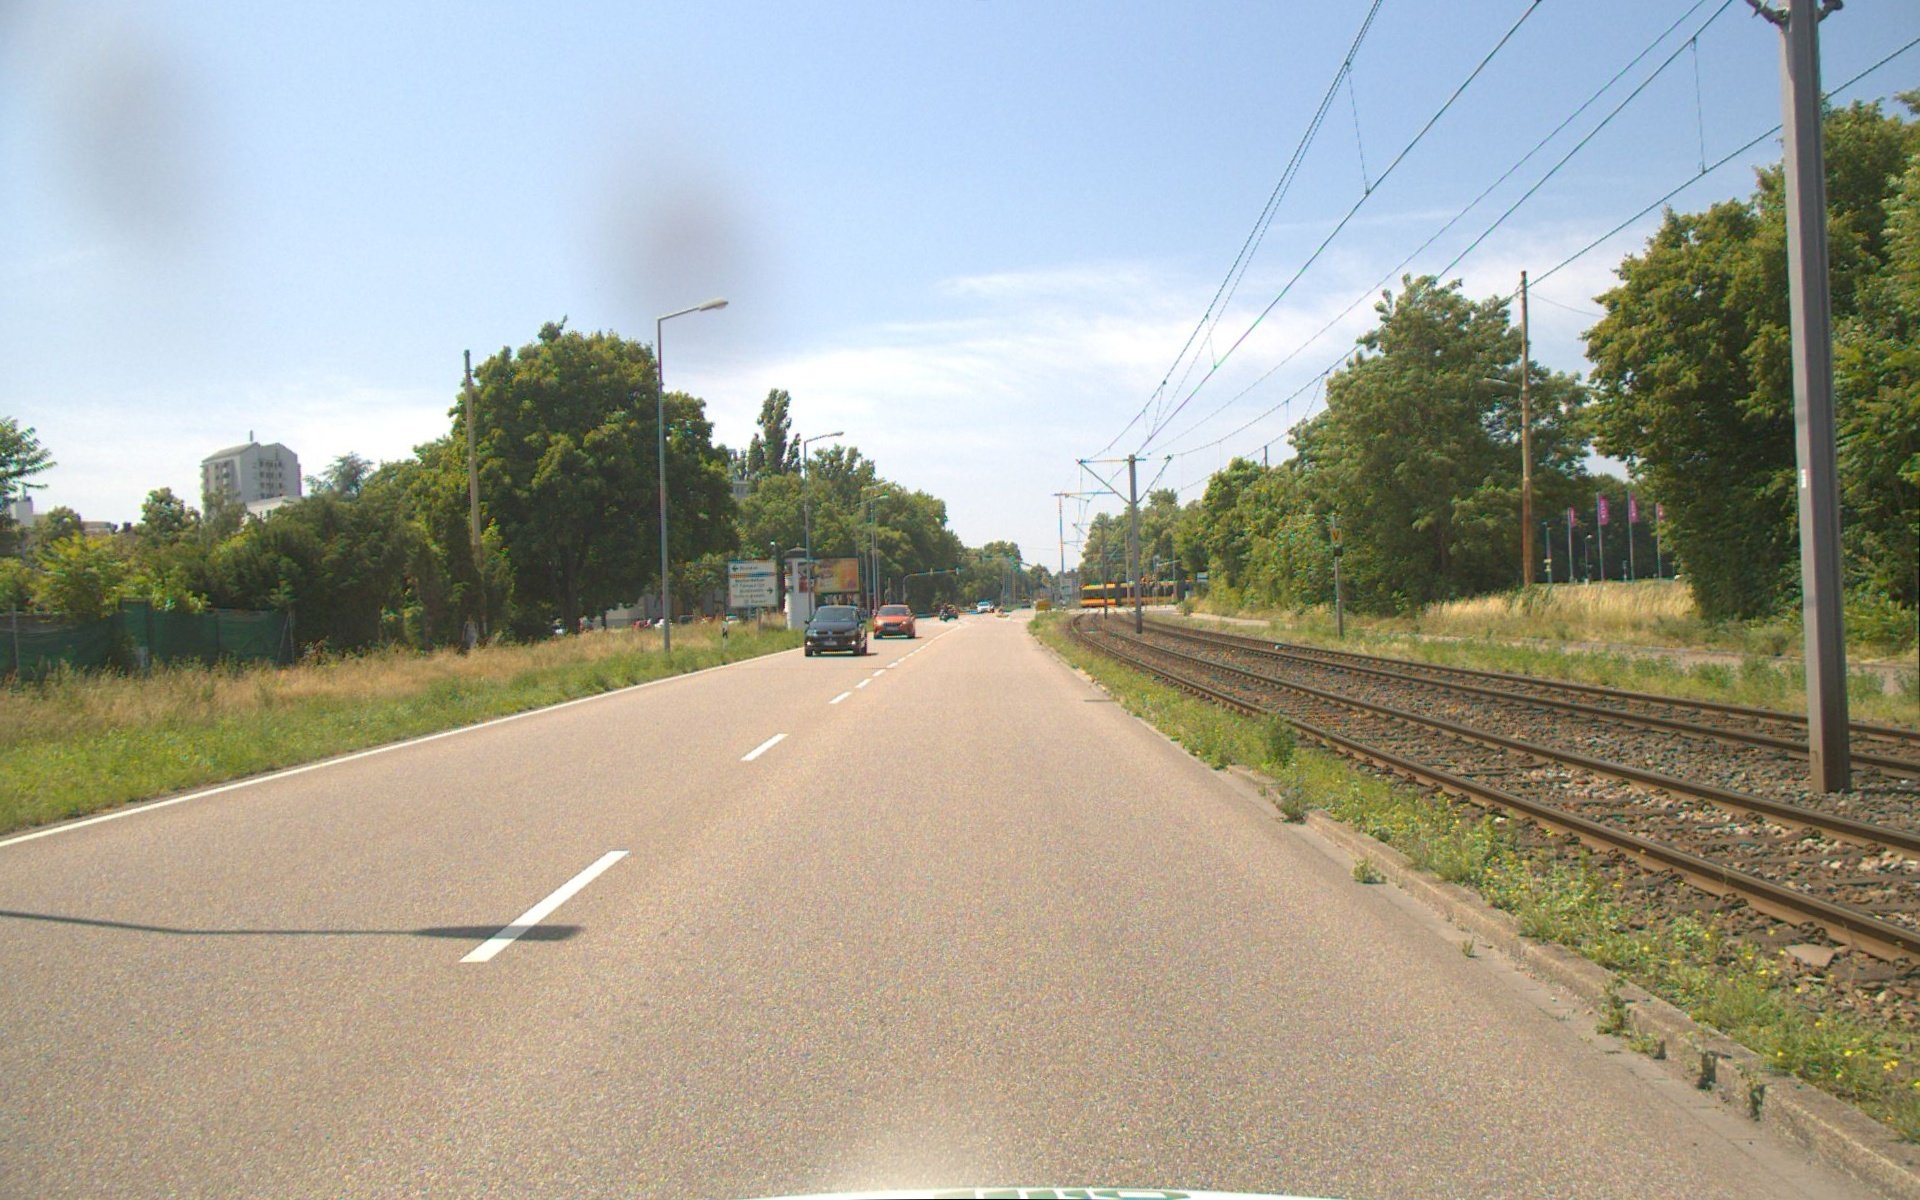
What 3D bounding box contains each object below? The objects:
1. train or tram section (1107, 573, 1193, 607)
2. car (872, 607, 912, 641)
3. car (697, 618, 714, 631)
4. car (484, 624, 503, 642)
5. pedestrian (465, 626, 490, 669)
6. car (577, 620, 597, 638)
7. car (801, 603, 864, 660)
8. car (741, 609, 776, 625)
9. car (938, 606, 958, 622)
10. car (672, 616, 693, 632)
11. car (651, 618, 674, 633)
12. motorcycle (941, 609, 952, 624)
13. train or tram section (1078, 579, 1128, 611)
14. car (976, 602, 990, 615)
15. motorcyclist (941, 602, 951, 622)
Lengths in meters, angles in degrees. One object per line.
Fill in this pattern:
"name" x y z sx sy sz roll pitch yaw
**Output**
"train or tram section" 27.311 -1.372 238.540 2.900 3.988 13.741 2 -4 -43
"car" -2.952 1.031 72.337 1.645 1.423 3.999 -1 0 -2
"car" -29.261 2.813 190.277 1.590 1.489 3.986 -1 0 -13
"car" -51.221 3.604 181.584 1.819 1.982 3.977 -1 0 -20
"pedestrian" -15.705 1.537 53.848 0.569 1.379 0.798 -1 0 1
"car" -42.075 3.255 186.538 1.819 1.741 3.977 -2 1 -20
"car" -3.775 0.898 49.488 1.650 1.597 3.966 -1 0 -2
"car" -26.423 2.219 216.975 1.760 1.799 4.521 -3 0 42
"car" -1.218 1.416 165.469 1.867 1.525 4.630 -1 0 1
"car" -31.801 2.744 189.719 1.679 1.832 3.977 -1 0 -20
"car" -33.931 2.938 188.851 1.682 1.620 3.970 -1 0 -24
"motorcycle" -1.172 1.440 144.161 0.829 1.277 2.449 -1 0 2
"train or tram section" 21.463 -0.680 249.280 2.865 3.988 13.985 -1 -3 -14
"car" 3.088 1.170 223.237 1.747 1.657 3.866 -3 0 3
"motorcyclist" -1.201 1.048 144.130 0.773 1.671 1.211 -1 0 2
